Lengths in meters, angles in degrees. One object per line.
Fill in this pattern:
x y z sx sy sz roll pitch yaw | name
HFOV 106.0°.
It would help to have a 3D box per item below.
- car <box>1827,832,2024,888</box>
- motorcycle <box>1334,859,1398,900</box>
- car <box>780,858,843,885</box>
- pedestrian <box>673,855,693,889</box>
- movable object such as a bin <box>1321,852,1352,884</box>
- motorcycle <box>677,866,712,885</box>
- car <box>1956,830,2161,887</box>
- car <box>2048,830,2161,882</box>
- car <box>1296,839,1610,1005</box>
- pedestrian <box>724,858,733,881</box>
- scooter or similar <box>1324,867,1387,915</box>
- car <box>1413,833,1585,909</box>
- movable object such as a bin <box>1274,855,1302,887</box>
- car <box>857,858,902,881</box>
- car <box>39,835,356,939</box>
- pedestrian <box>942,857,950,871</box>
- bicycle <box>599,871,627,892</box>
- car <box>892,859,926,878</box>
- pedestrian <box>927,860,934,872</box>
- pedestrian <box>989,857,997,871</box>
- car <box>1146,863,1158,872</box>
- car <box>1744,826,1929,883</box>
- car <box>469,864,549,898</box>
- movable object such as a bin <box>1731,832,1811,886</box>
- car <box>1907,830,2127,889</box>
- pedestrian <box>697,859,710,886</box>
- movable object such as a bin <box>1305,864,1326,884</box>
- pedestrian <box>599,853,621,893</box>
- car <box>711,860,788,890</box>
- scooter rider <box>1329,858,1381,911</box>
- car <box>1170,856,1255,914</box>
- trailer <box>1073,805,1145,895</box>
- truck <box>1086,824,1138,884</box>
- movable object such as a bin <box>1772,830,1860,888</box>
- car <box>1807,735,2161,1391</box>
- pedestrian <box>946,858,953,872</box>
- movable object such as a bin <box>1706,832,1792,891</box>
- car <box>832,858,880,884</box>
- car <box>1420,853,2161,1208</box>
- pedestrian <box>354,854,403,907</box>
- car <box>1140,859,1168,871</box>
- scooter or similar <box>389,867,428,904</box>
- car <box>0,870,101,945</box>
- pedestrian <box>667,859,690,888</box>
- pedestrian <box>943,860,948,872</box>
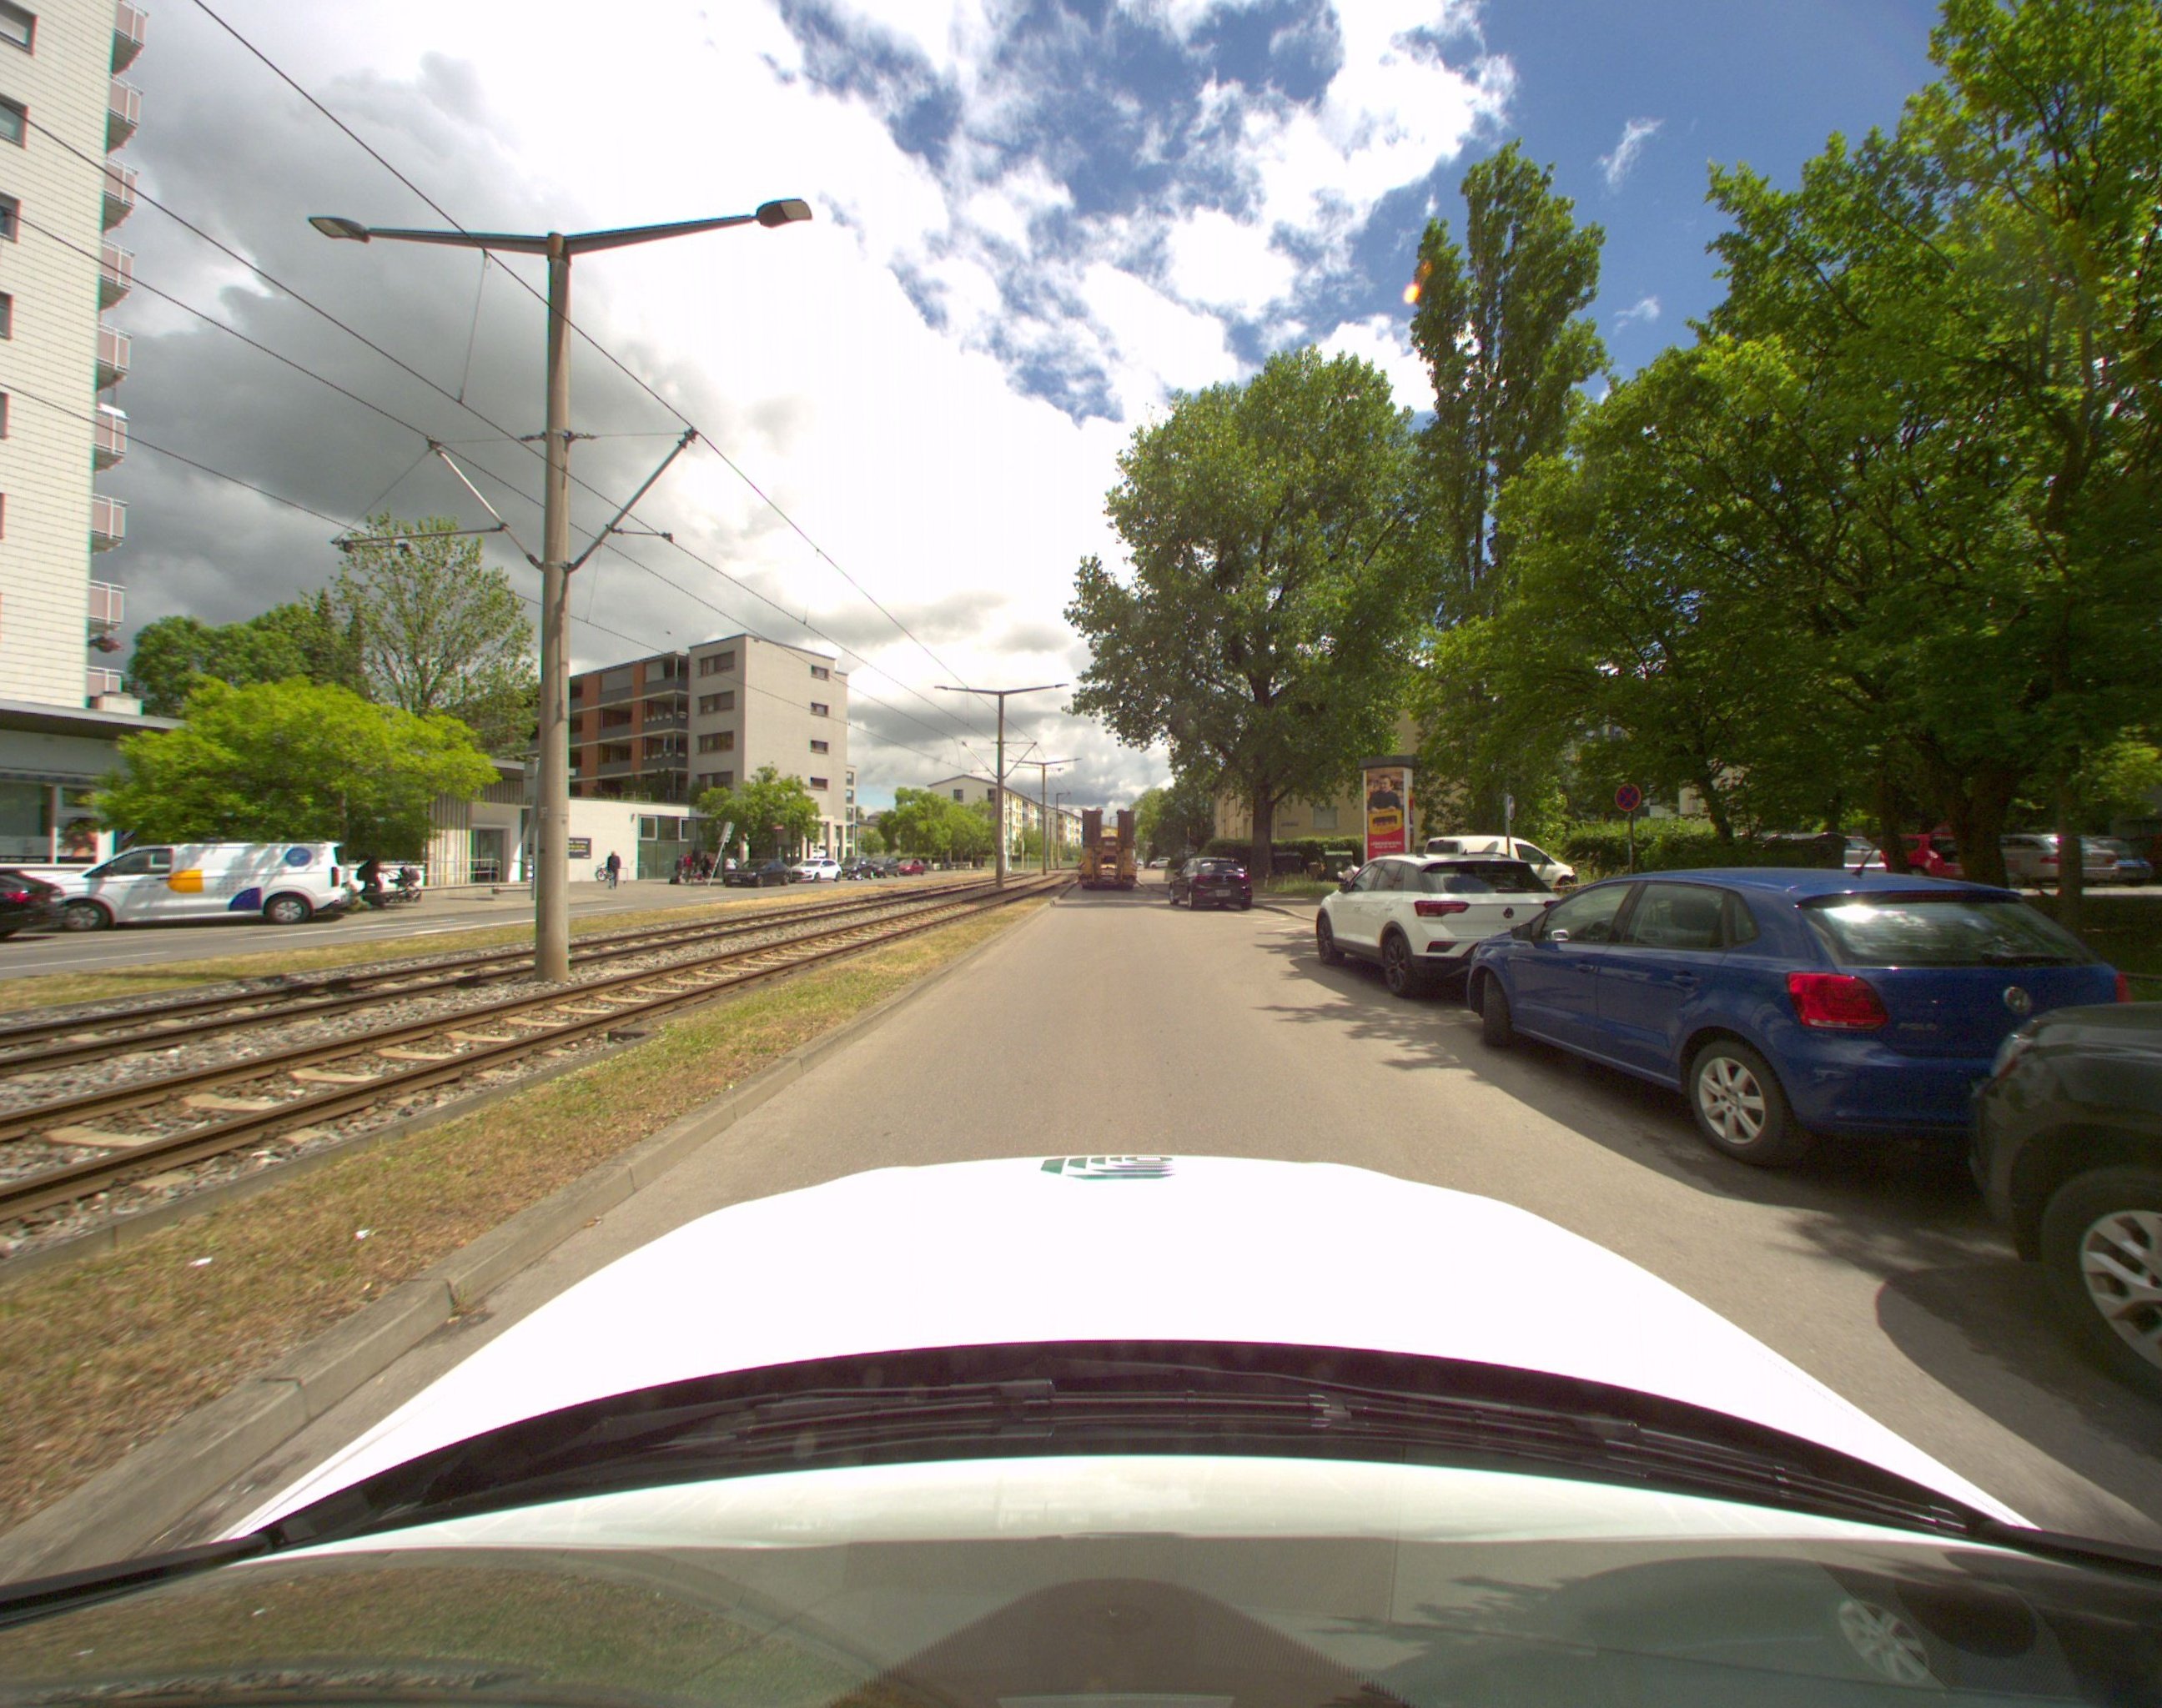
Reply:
23.871 0.151 23.260 1.734 1.443 4.007 -1 0 6 | car
8.864 0.770 25.355 1.800 1.210 0.708 -1 0 -19 | motorcycle
-16.407 1.059 49.816 1.743 1.475 4.412 -1 0 10 | car
-21.456 0.942 43.917 0.608 1.792 0.844 -1 0 4 | pedestrian
12.189 0.663 38.850 1.164 1.439 1.058 -1 0 2 | movable object such as a bin
-25.378 1.385 53.517 1.885 1.178 0.742 -1 0 1 | motorcycle
28.932 0.121 24.176 1.736 1.529 4.004 -1 0 3 | car
32.456 0.040 24.660 1.736 1.529 4.004 -1 0 3 | car
4.219 0.655 10.193 1.778 1.565 4.568 -1 0 -1 | car
-23.026 1.003 53.250 0.499 1.460 0.556 -1 0 -23 | pedestrian
6.835 0.899 20.398 0.886 1.064 2.115 -1 1 2 | scooter or similar
11.059 0.405 21.572 4.000 1.823 1.799 -1 0 -20 | car
9.829 0.797 38.689 1.094 1.439 0.762 -1 0 2 | movable object such as a bin
-15.233 1.150 61.791 1.983 1.648 4.108 -1 0 7 | car
-20.448 0.669 19.249 4.784 2.156 1.885 -2 0 -37 | car
-15.406 1.182 92.904 0.618 1.573 0.701 -1 0 15 | pedestrian
-27.704 1.606 48.160 1.948 1.212 0.673 -1 0 35 | bicycle
-14.508 1.218 68.860 1.603 1.426 3.433 -1 0 11 | car
-18.649 1.470 100.808 0.539 1.547 0.532 -2 0 25 | pedestrian
-10.256 1.161 95.133 0.745 1.661 0.871 -1 0 8 | pedestrian
11.990 2.262 137.149 1.984 1.387 4.005 -1 0 4 | car
21.684 0.007 23.631 1.930 1.490 4.007 -1 0 6 | car
-26.918 1.242 38.276 4.300 1.442 2.013 -1 0 40 | car
19.102 0.128 22.584 1.111 1.430 1.286 -1 0 1 | movable object such as a bin
26.125 0.132 22.966 1.736 1.470 4.004 -1 0 3 | car
-22.550 1.102 48.642 0.666 1.573 0.683 -1 0 -23 | pedestrian
11.149 0.947 38.769 0.799 0.915 0.762 -1 0 2 | movable object such as a bin
-21.708 0.886 37.536 0.846 1.792 0.865 -1 0 -30 | pedestrian
-16.994 1.023 41.997 1.725 1.428 4.389 -1 0 7 | car
6.829 0.743 20.381 0.882 1.220 1.282 -1 1 2 | scooter rider
3.675 0.824 23.358 1.809 1.449 3.826 -1 0 0 | car
1.437 -0.192 40.934 3.039 3.772 11.619 -1 0 2 | trailer
1.906 -0.013 49.947 2.823 3.330 7.989 -1 0 2 | truck
19.074 0.131 21.176 1.111 1.430 1.286 -1 0 1 | movable object such as a bin
3.669 0.546 0.952 1.637 1.762 4.571 -1 0 2 | car
-15.167 1.229 93.719 0.618 1.573 0.560 -1 0 15 | pedestrian
16.890 0.188 20.636 1.111 1.430 1.286 -1 0 1 | movable object such as a bin
-15.437 1.153 56.123 1.986 1.662 4.102 0 0 2 | car
3.985 0.756 5.550 1.638 1.458 4.076 -2 0 0 | car
-21.612 0.798 25.061 0.510 1.571 0.989 2 1 15 | pedestrian
10.622 1.596 118.436 3.570 1.584 2.008 -1 -1 16 | car
-21.403 0.988 25.926 0.575 1.124 0.772 2 1 15 | scooter or similar
-21.922 1.066 15.374 4.019 1.383 1.885 -2 0 -37 | car
-22.012 1.067 44.578 0.596 1.534 0.977 -2 0 17 | pedestrian
-15.292 1.365 92.030 0.501 1.267 0.497 -1 0 -19 | pedestrian
